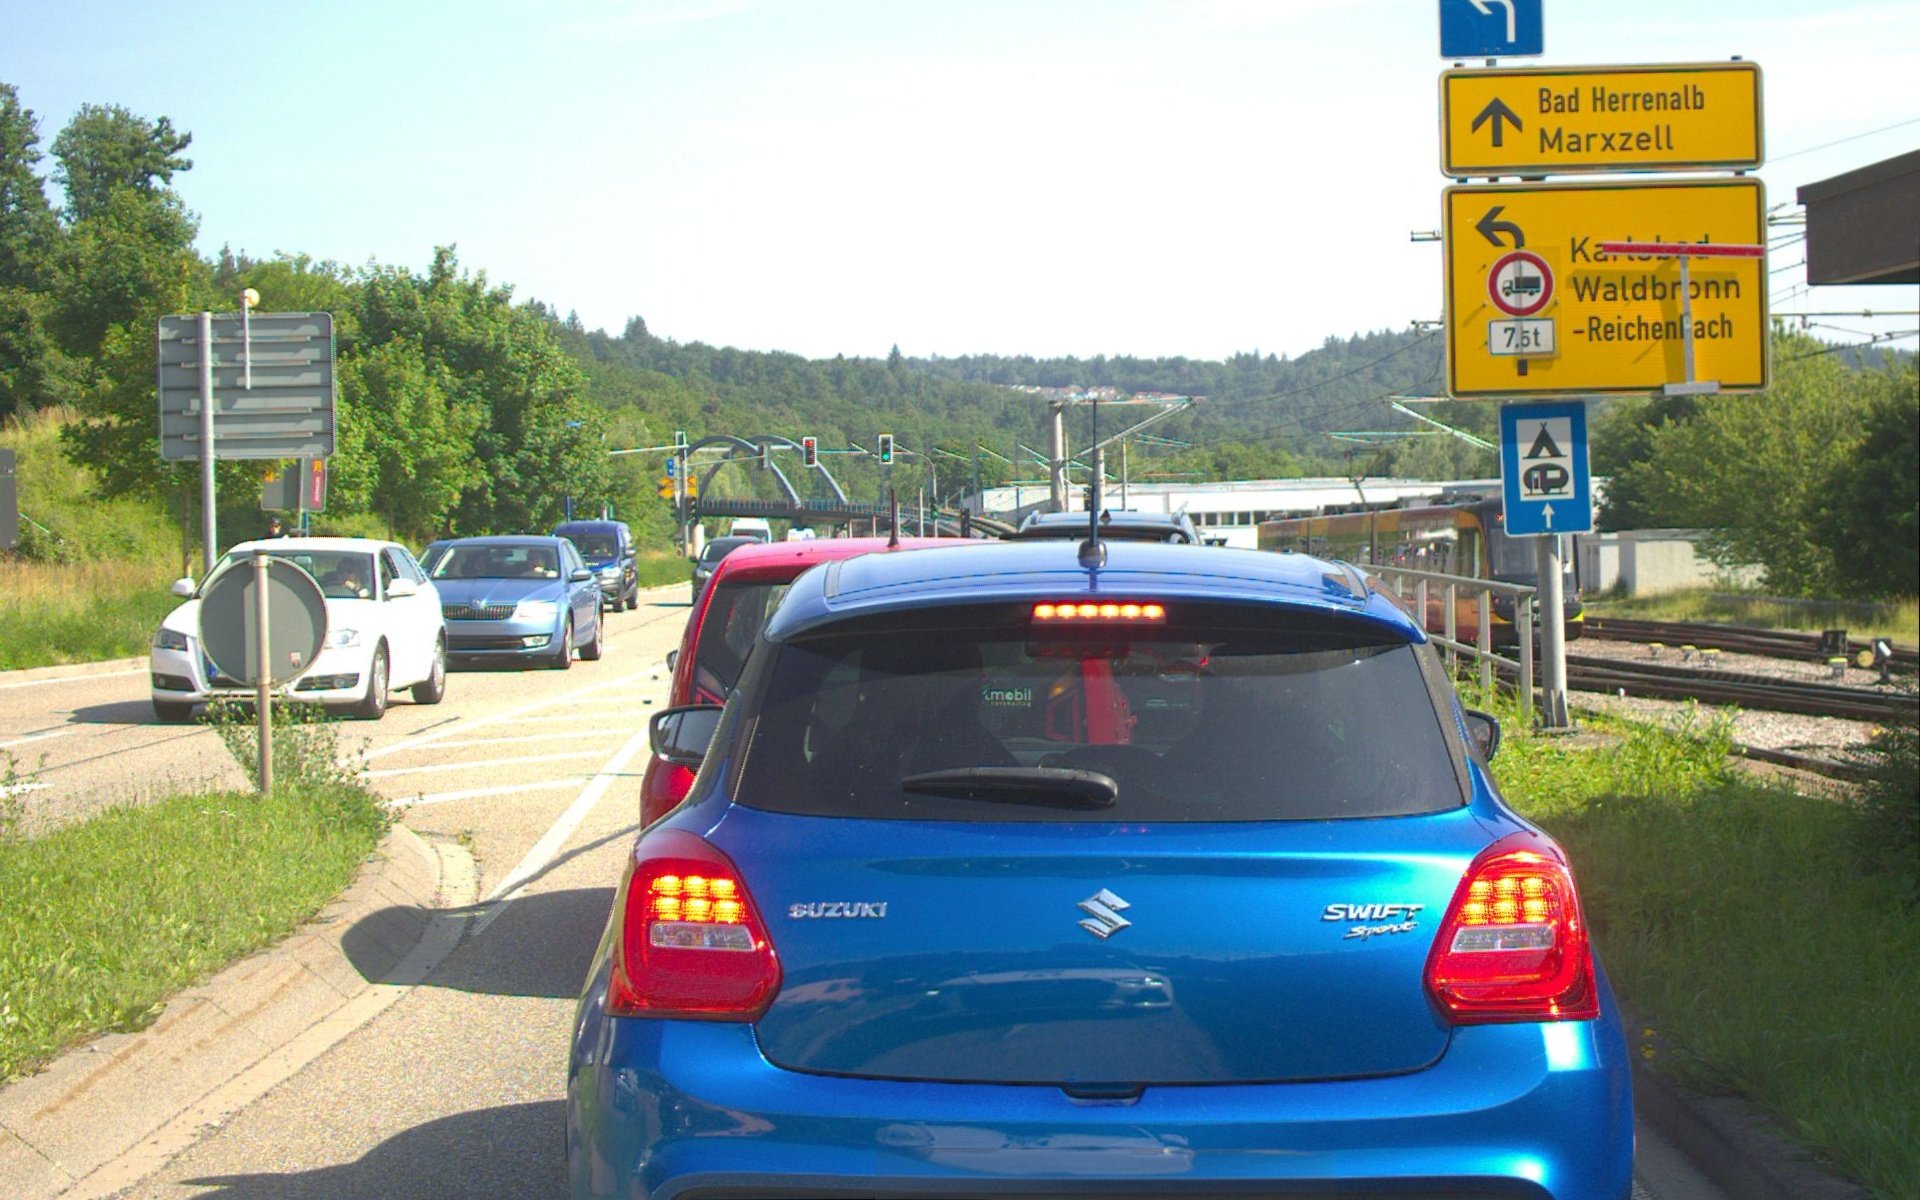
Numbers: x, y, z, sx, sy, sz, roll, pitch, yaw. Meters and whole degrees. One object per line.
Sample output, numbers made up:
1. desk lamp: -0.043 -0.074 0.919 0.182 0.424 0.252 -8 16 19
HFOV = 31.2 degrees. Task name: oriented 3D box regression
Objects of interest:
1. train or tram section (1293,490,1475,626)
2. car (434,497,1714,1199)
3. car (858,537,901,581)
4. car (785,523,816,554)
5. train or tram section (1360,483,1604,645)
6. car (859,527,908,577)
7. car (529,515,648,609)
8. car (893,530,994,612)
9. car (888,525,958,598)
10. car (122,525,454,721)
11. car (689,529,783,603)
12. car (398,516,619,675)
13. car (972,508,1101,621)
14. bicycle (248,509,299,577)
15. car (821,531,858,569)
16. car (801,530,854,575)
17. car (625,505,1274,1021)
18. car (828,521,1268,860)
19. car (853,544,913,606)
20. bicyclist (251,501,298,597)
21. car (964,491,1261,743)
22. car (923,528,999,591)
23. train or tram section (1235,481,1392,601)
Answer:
1. train or tram section: 11.214 -1.135 92.231 2.786 3.353 12.049 1 1 -3
2. car: 0.121 0.582 7.035 1.868 1.543 4.000 0 1 -1
3. car: -3.929 -2.009 168.792 1.993 2.006 4.001 2 2 -1
4. car: -11.233 -4.312 242.356 1.993 2.137 4.720 1 1 -1
5. train or tram section: 11.775 -0.898 79.202 2.855 3.353 14.356 1 1 -2
6. car: -3.245 -2.059 146.394 1.993 2.006 4.001 2 2 -1
7. car: -7.329 -0.787 68.120 1.832 1.707 3.811 2 2 1
8. car: -0.290 -0.589 67.486 1.832 1.426 3.811 2 2 1
9. car: -1.110 -1.175 103.311 1.993 2.006 4.001 2 2 -1
10. car: -5.315 0.129 27.660 1.832 1.364 3.950 1 2 1
11. car: -4.830 -0.754 74.457 1.832 1.426 3.811 2 2 -1
12. car: -4.901 -0.093 37.780 1.832 1.463 3.811 2 3 1
13. car: 1.239 -0.611 56.366 1.993 1.730 4.000 2 1 1
14. bicycle: -10.949 -0.915 54.857 0.566 1.039 1.552 2 2 -3
15. car: -6.863 -2.864 196.183 1.993 2.006 4.001 2 2 -1
16. car: -5.393 -1.960 140.178 1.993 1.777 4.000 1 1 -1
17. car: -0.001 0.475 12.704 1.993 1.566 4.000 1 1 1
18. car: 0.439 0.363 17.972 1.993 1.526 4.602 -1 1 1
19. car: -2.691 -0.899 120.839 1.993 2.006 4.001 2 2 -1
20. bicyclist: -10.938 -0.811 54.861 0.629 1.502 0.506 2 2 -3
21. car: 1.090 0.066 25.986 1.993 1.681 4.497 2 1 1
22. car: 0.047 -1.060 88.879 1.832 1.488 3.811 2 2 1
23. train or tram section: 10.564 -1.744 104.122 2.755 3.353 12.050 1 1 -3
